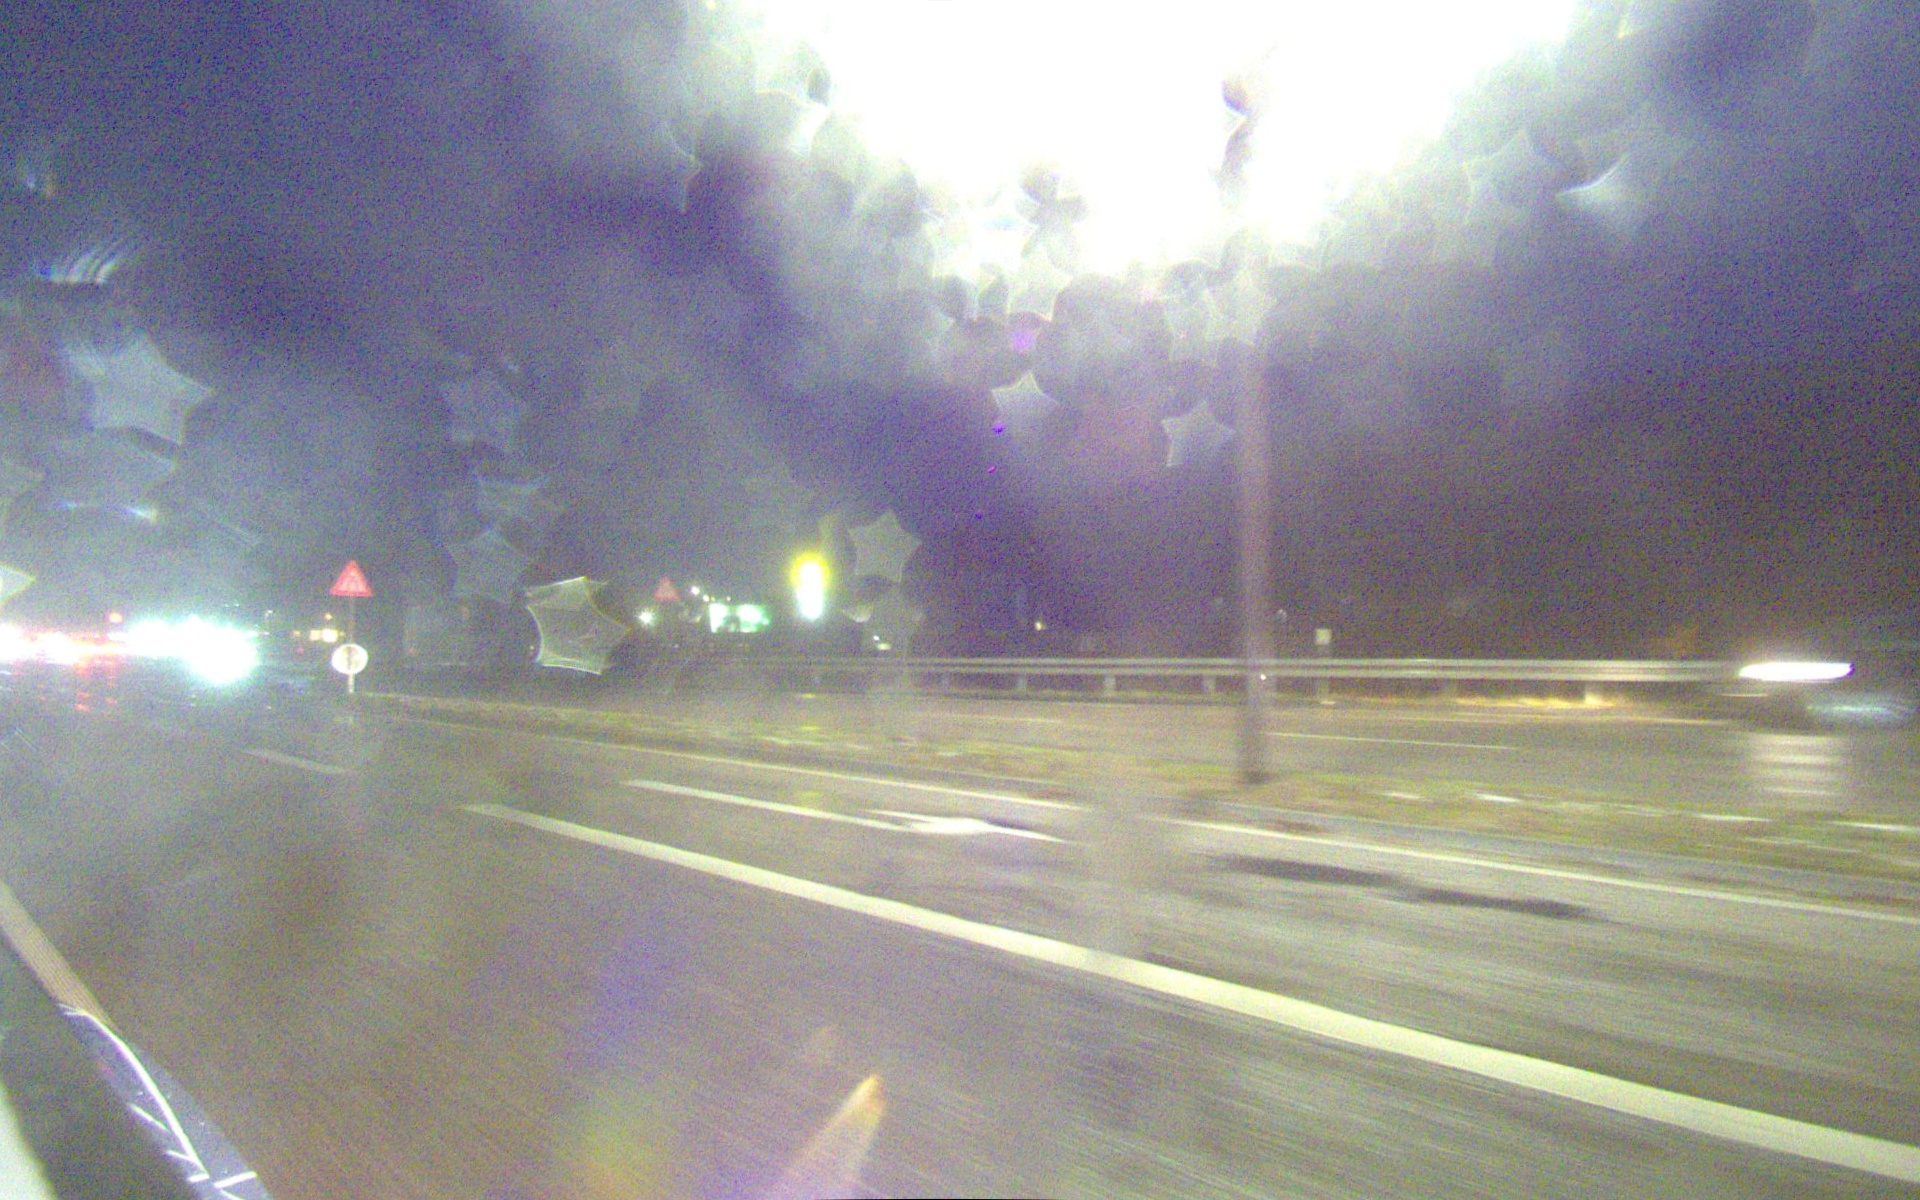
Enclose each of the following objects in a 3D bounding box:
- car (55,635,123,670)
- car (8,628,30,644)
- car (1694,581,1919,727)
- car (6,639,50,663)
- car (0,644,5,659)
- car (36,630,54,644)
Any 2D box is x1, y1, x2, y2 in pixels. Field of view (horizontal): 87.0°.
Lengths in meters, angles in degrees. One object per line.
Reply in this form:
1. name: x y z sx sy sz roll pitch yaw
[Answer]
1. car: -48.093 2.864 55.849 4.573 1.713 2.068 -1 -1 39
2. car: -131.009 4.978 140.876 1.968 2.029 4.007 0 -1 -39
3. car: 11.832 0.614 12.201 4.463 1.665 1.705 0 -1 14
4. car: -63.185 3.417 68.612 4.204 1.435 1.784 -1 -1 42
5. car: -143.688 7.670 150.609 1.968 2.029 4.008 0 -1 -39
6. car: -145.829 5.850 161.353 1.969 2.029 4.006 0 -1 -40
